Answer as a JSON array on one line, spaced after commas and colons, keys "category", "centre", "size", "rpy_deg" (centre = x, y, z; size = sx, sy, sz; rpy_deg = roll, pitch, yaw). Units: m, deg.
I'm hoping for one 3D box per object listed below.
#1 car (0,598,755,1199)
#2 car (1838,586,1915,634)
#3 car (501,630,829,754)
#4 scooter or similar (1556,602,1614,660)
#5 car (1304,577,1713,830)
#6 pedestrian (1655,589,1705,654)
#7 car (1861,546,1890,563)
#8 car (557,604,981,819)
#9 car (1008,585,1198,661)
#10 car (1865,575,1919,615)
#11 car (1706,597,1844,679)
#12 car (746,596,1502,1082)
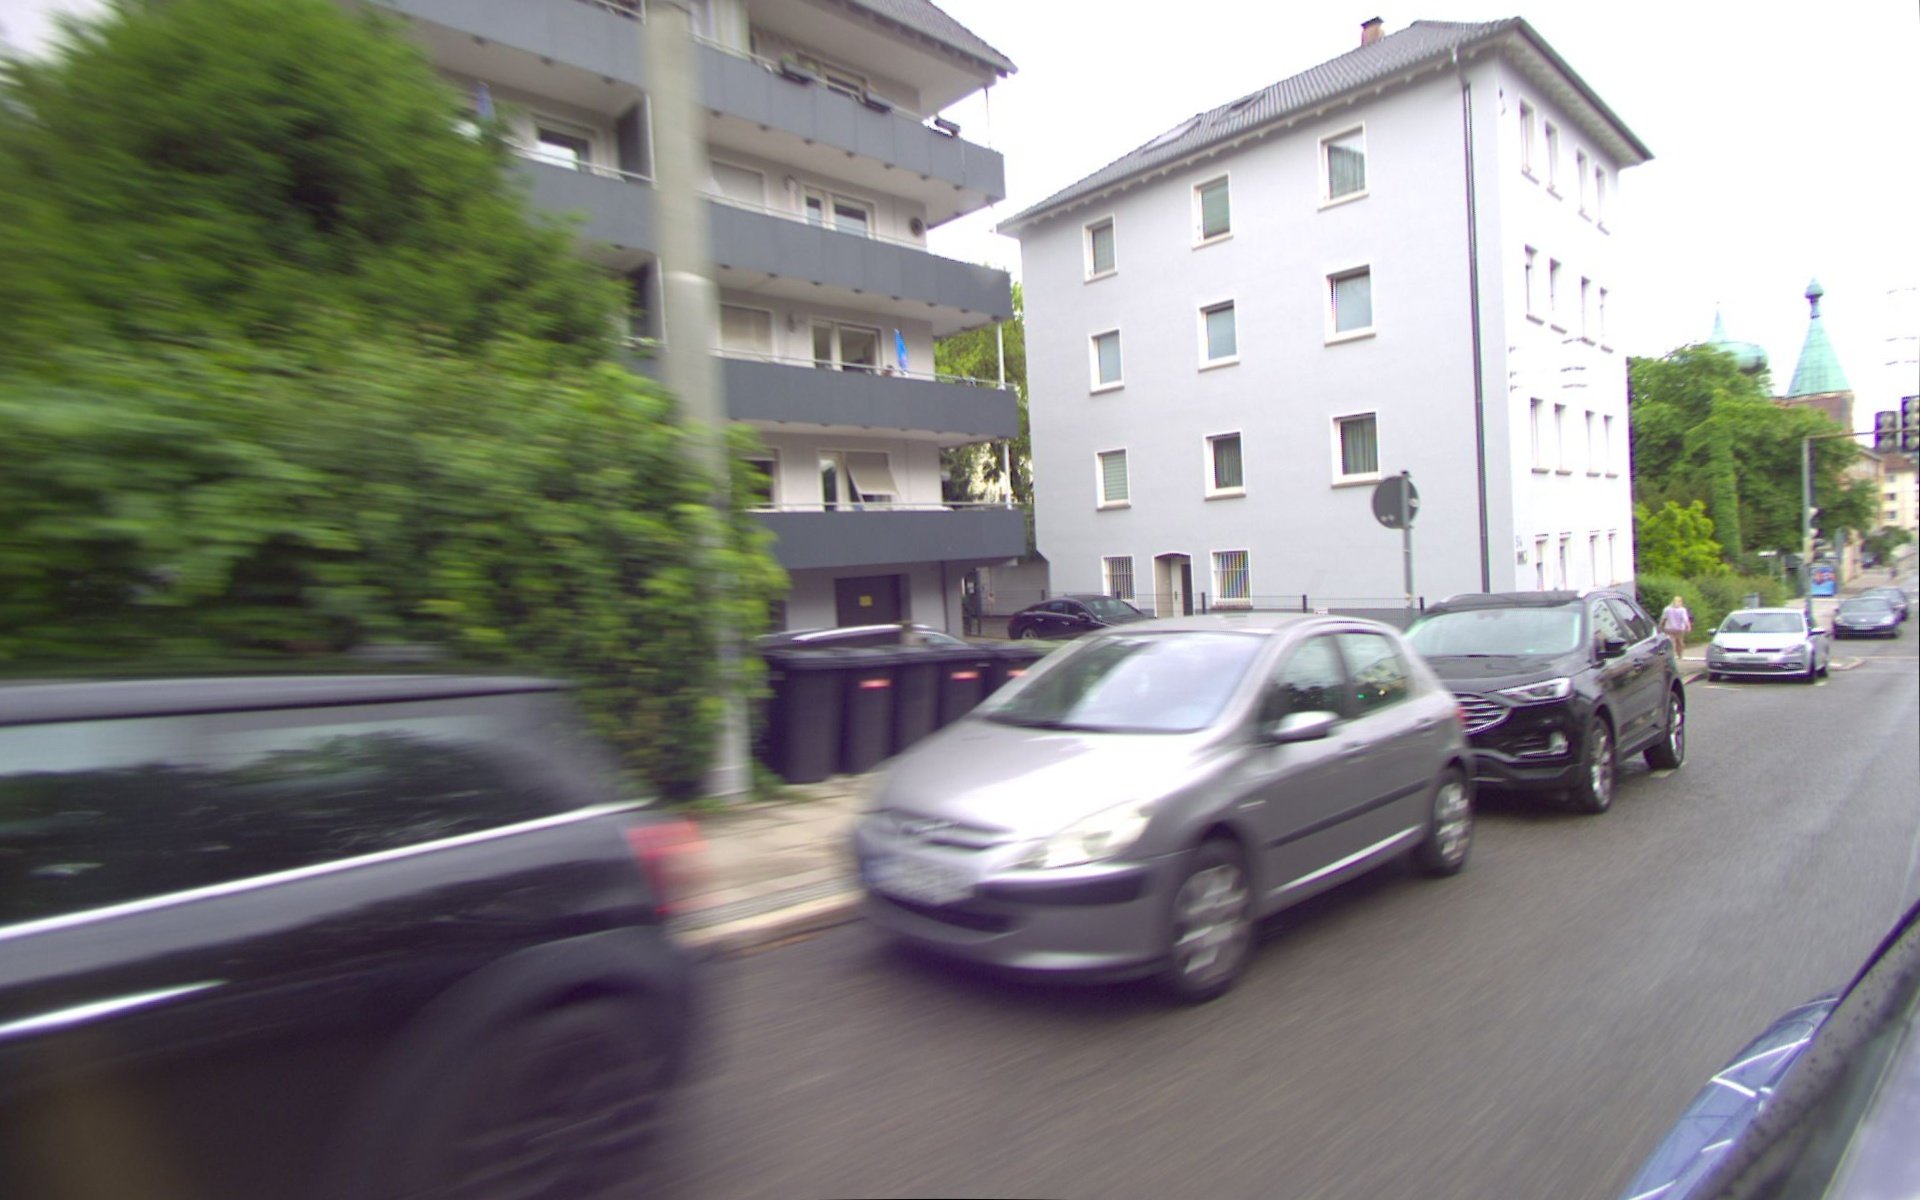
[{"category": "car", "centre": [-2.476, 0.777, 1.844], "size": [3.800, 1.445, 1.705], "rpy_deg": [-1, -2, -45]}, {"category": "car", "centre": [33.848, 0.359, 37.328], "size": [1.939, 1.482, 4.142], "rpy_deg": [-3, 1, 44]}, {"category": "car", "centre": [-4.244, 1.234, 15.044], "size": [4.358, 1.396, 1.777], "rpy_deg": [-2, 0, -45]}, {"category": "scooter or similar", "centre": [13.977, 0.693, 22.621], "size": [1.580, 1.266, 0.576], "rpy_deg": [2, -3, -39]}, {"category": "car", "centre": [5.051, 0.681, 8.971], "size": [1.906, 1.663, 4.614], "rpy_deg": [-3, -2, 45]}, {"category": "pedestrian", "centre": [18.217, 0.537, 25.619], "size": [0.787, 1.603, 0.884], "rpy_deg": [2, -1, -42]}, {"category": "car", "centre": [94.812, -4.780, 104.784], "size": [4.378, 1.520, 1.855], "rpy_deg": [-6, 6, -43]}, {"category": "car", "centre": [-1.867, 0.996, 10.826], "size": [4.138, 1.533, 1.721], "rpy_deg": [-6, 2, -44]}, {"category": "car", "centre": [3.212, 0.450, 23.520], "size": [1.786, 1.449, 4.382], "rpy_deg": [-4, 4, -37]}, {"category": "car", "centre": [42.162, -0.236, 45.577], "size": [1.858, 1.505, 4.572], "rpy_deg": [-3, 1, 45]}, {"category": "car", "centre": [16.560, 0.716, 20.487], "size": [1.705, 1.452, 4.035], "rpy_deg": [-3, -2, 45]}, {"category": "car", "centre": [1.166, 0.763, 5.231], "size": [1.705, 1.446, 4.182], "rpy_deg": [-3, -2, 45]}]
